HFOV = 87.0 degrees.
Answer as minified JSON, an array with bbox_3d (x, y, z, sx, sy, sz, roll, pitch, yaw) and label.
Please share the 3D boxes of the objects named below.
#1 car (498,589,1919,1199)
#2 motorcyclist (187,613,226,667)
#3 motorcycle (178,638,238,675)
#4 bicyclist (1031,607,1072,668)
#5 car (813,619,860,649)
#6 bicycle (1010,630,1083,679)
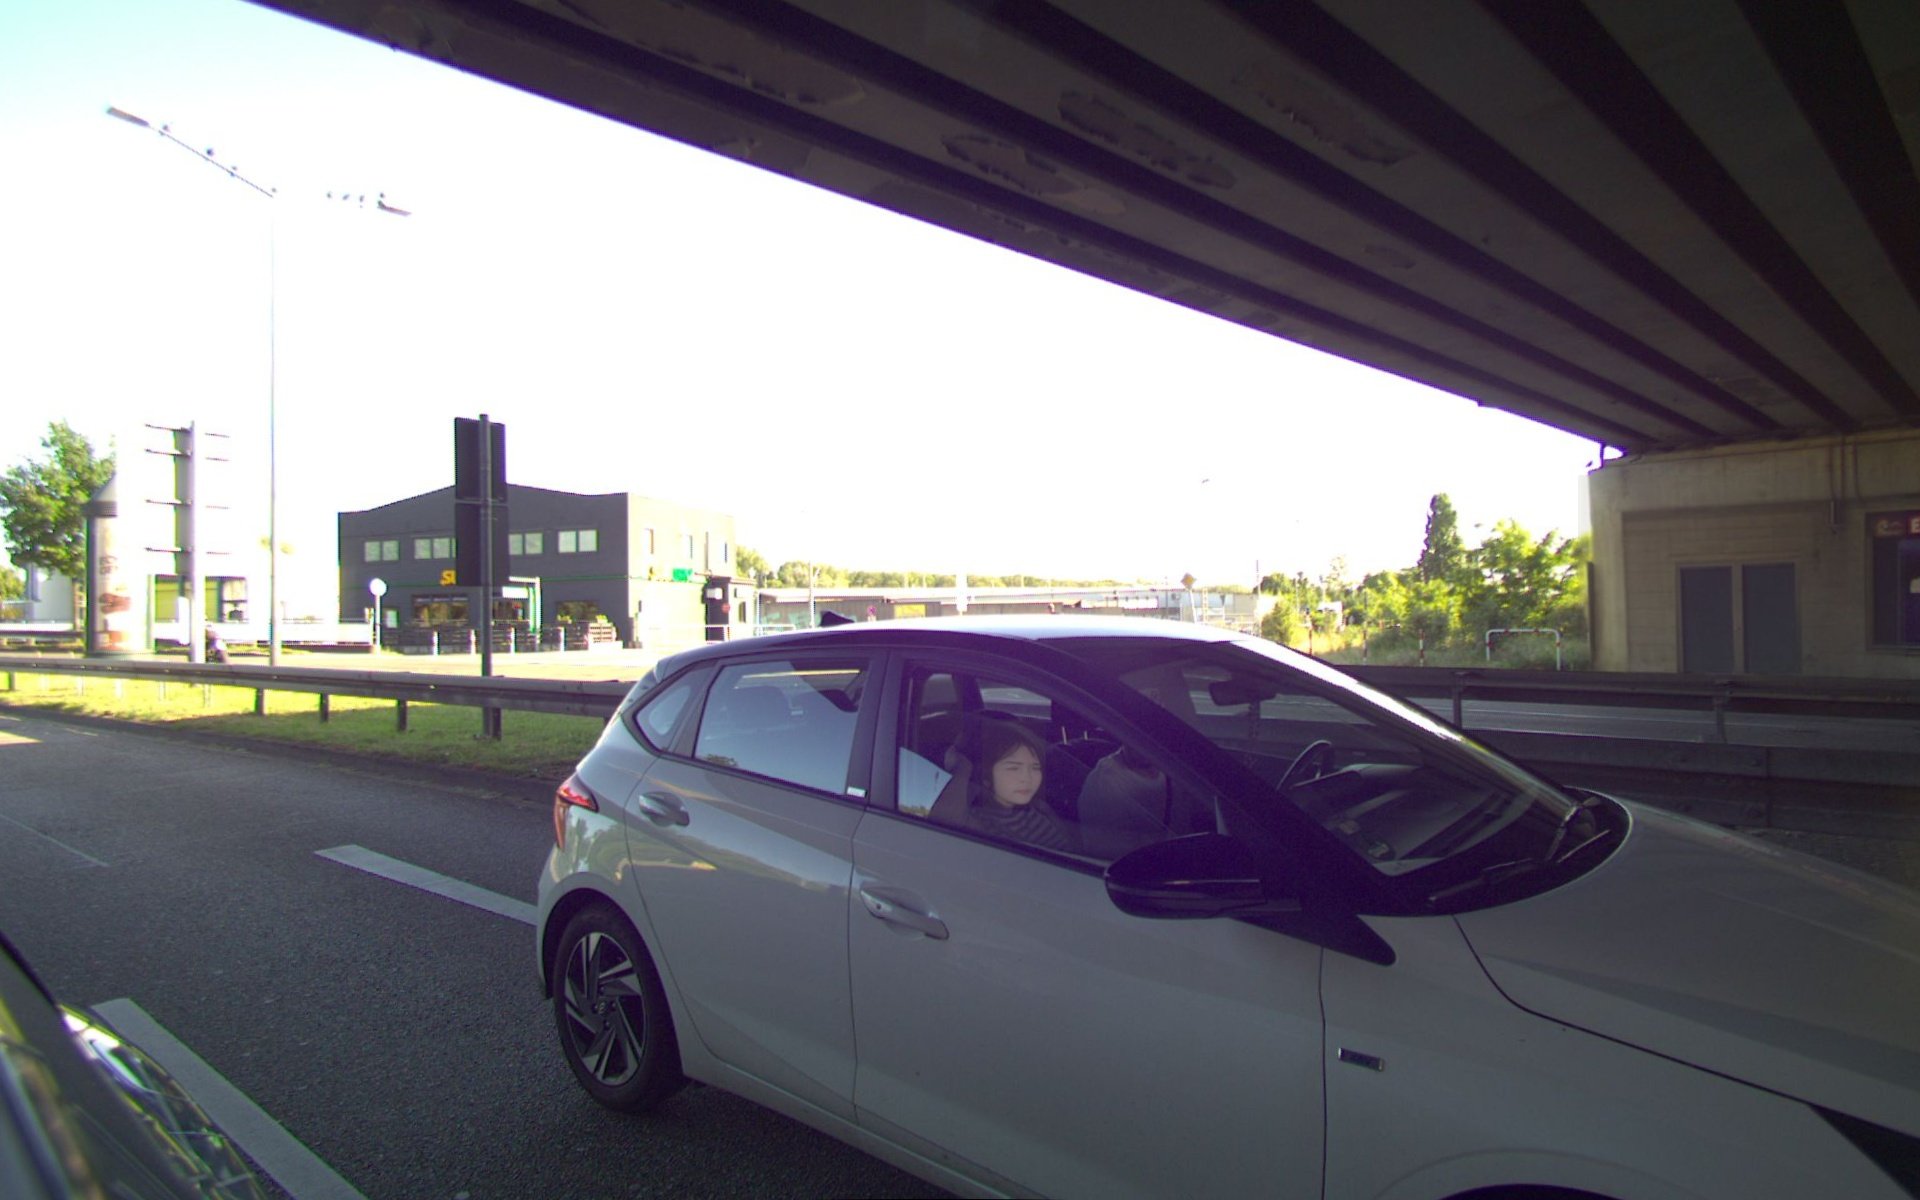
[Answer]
[{"bbox_3d":[0.597,0.704,2.672,3.866,1.414,1.716,-1,0,38],"label":"car"},{"bbox_3d":[-21.939,1.152,29.461,0.695,1.539,0.691,-2,-2,31],"label":"motorcyclist"},{"bbox_3d":[-21.864,1.630,29.409,2.001,1.035,0.688,-2,-1,31],"label":"motorcycle"},{"bbox_3d":[2.368,0.968,26.235,0.836,1.536,0.621,-1,0,41],"label":"bicyclist"},{"bbox_3d":[-6.645,1.823,54.997,1.858,1.453,3.996,-1,0,3],"label":"car"},{"bbox_3d":[2.233,1.398,26.362,1.877,1.174,0.627,-1,0,41],"label":"bicycle"}]
